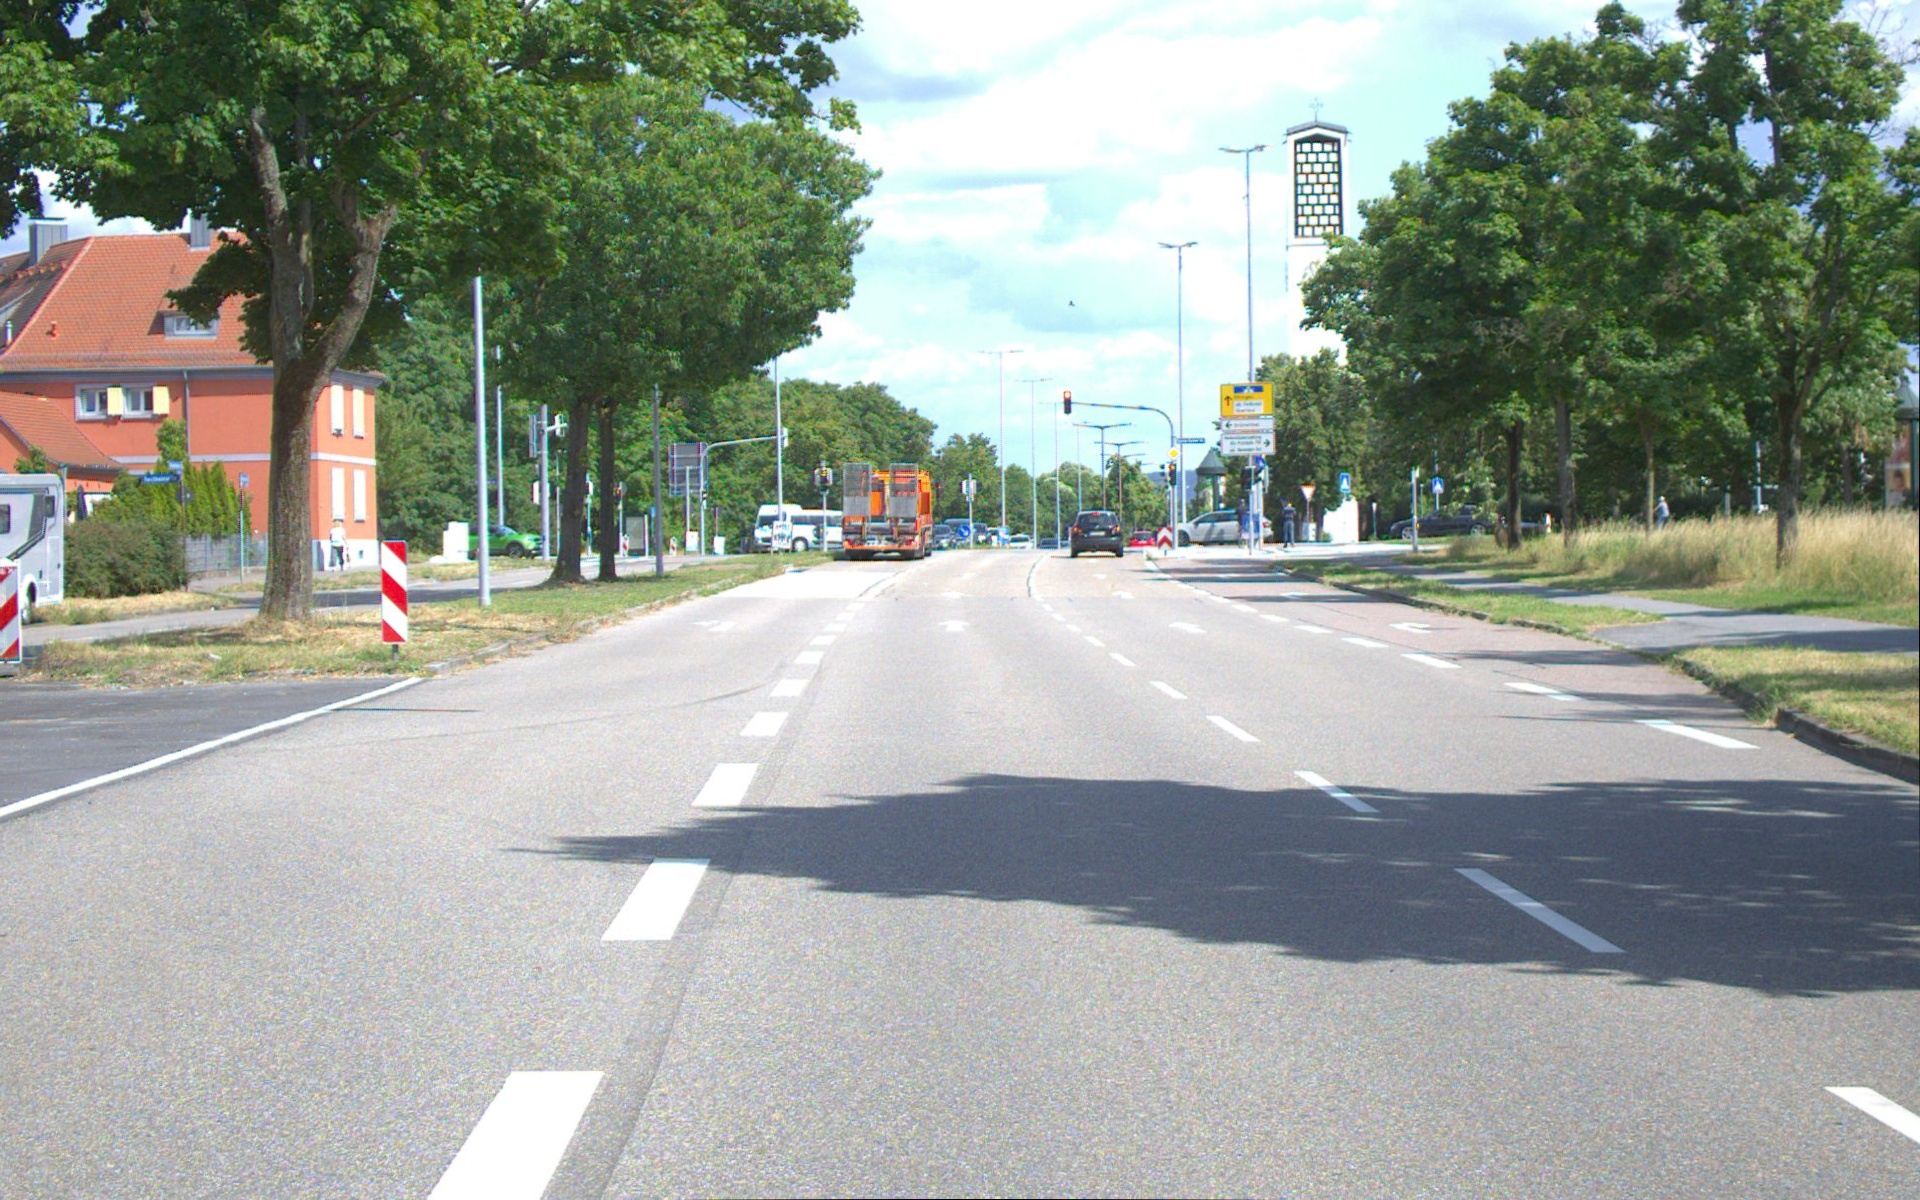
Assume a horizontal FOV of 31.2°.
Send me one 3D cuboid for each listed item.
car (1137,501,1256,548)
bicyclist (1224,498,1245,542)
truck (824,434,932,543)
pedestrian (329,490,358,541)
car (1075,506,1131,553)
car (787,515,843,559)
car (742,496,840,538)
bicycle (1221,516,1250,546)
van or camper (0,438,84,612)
[{"bbox_3d":[7.759,-2.462,112.851,3.571,1.437,1.476,1,1,-16],"label":"car"},{"bbox_3d":[10.350,-3.013,129.533,0.648,1.655,0.649,1,0,17],"label":"bicyclist"},{"bbox_3d":[-2.708,-3.726,117.327,3.071,3.402,11.068,1,1,1],"label":"truck"},{"bbox_3d":[-19.161,-2.619,106.916,0.696,1.578,0.851,1,0,1],"label":"pedestrian"},{"bbox_3d":[4.882,-2.405,117.600,1.799,1.546,4.000,1,1,1],"label":"car"},{"bbox_3d":[-5.447,-2.370,129.535,1.732,1.503,4.652,-4,1,1],"label":"car"},{"bbox_3d":[-7.072,-3.475,144.319,3.987,1.646,1.732,1,1,0],"label":"car"},{"bbox_3d":[10.398,-2.604,129.723,0.648,1.104,1.926,1,1,17],"label":"bicycle"},{"bbox_3d":[-18.183,-1.418,62.871,2.259,3.101,7.320,1,2,1],"label":"van or camper"}]
